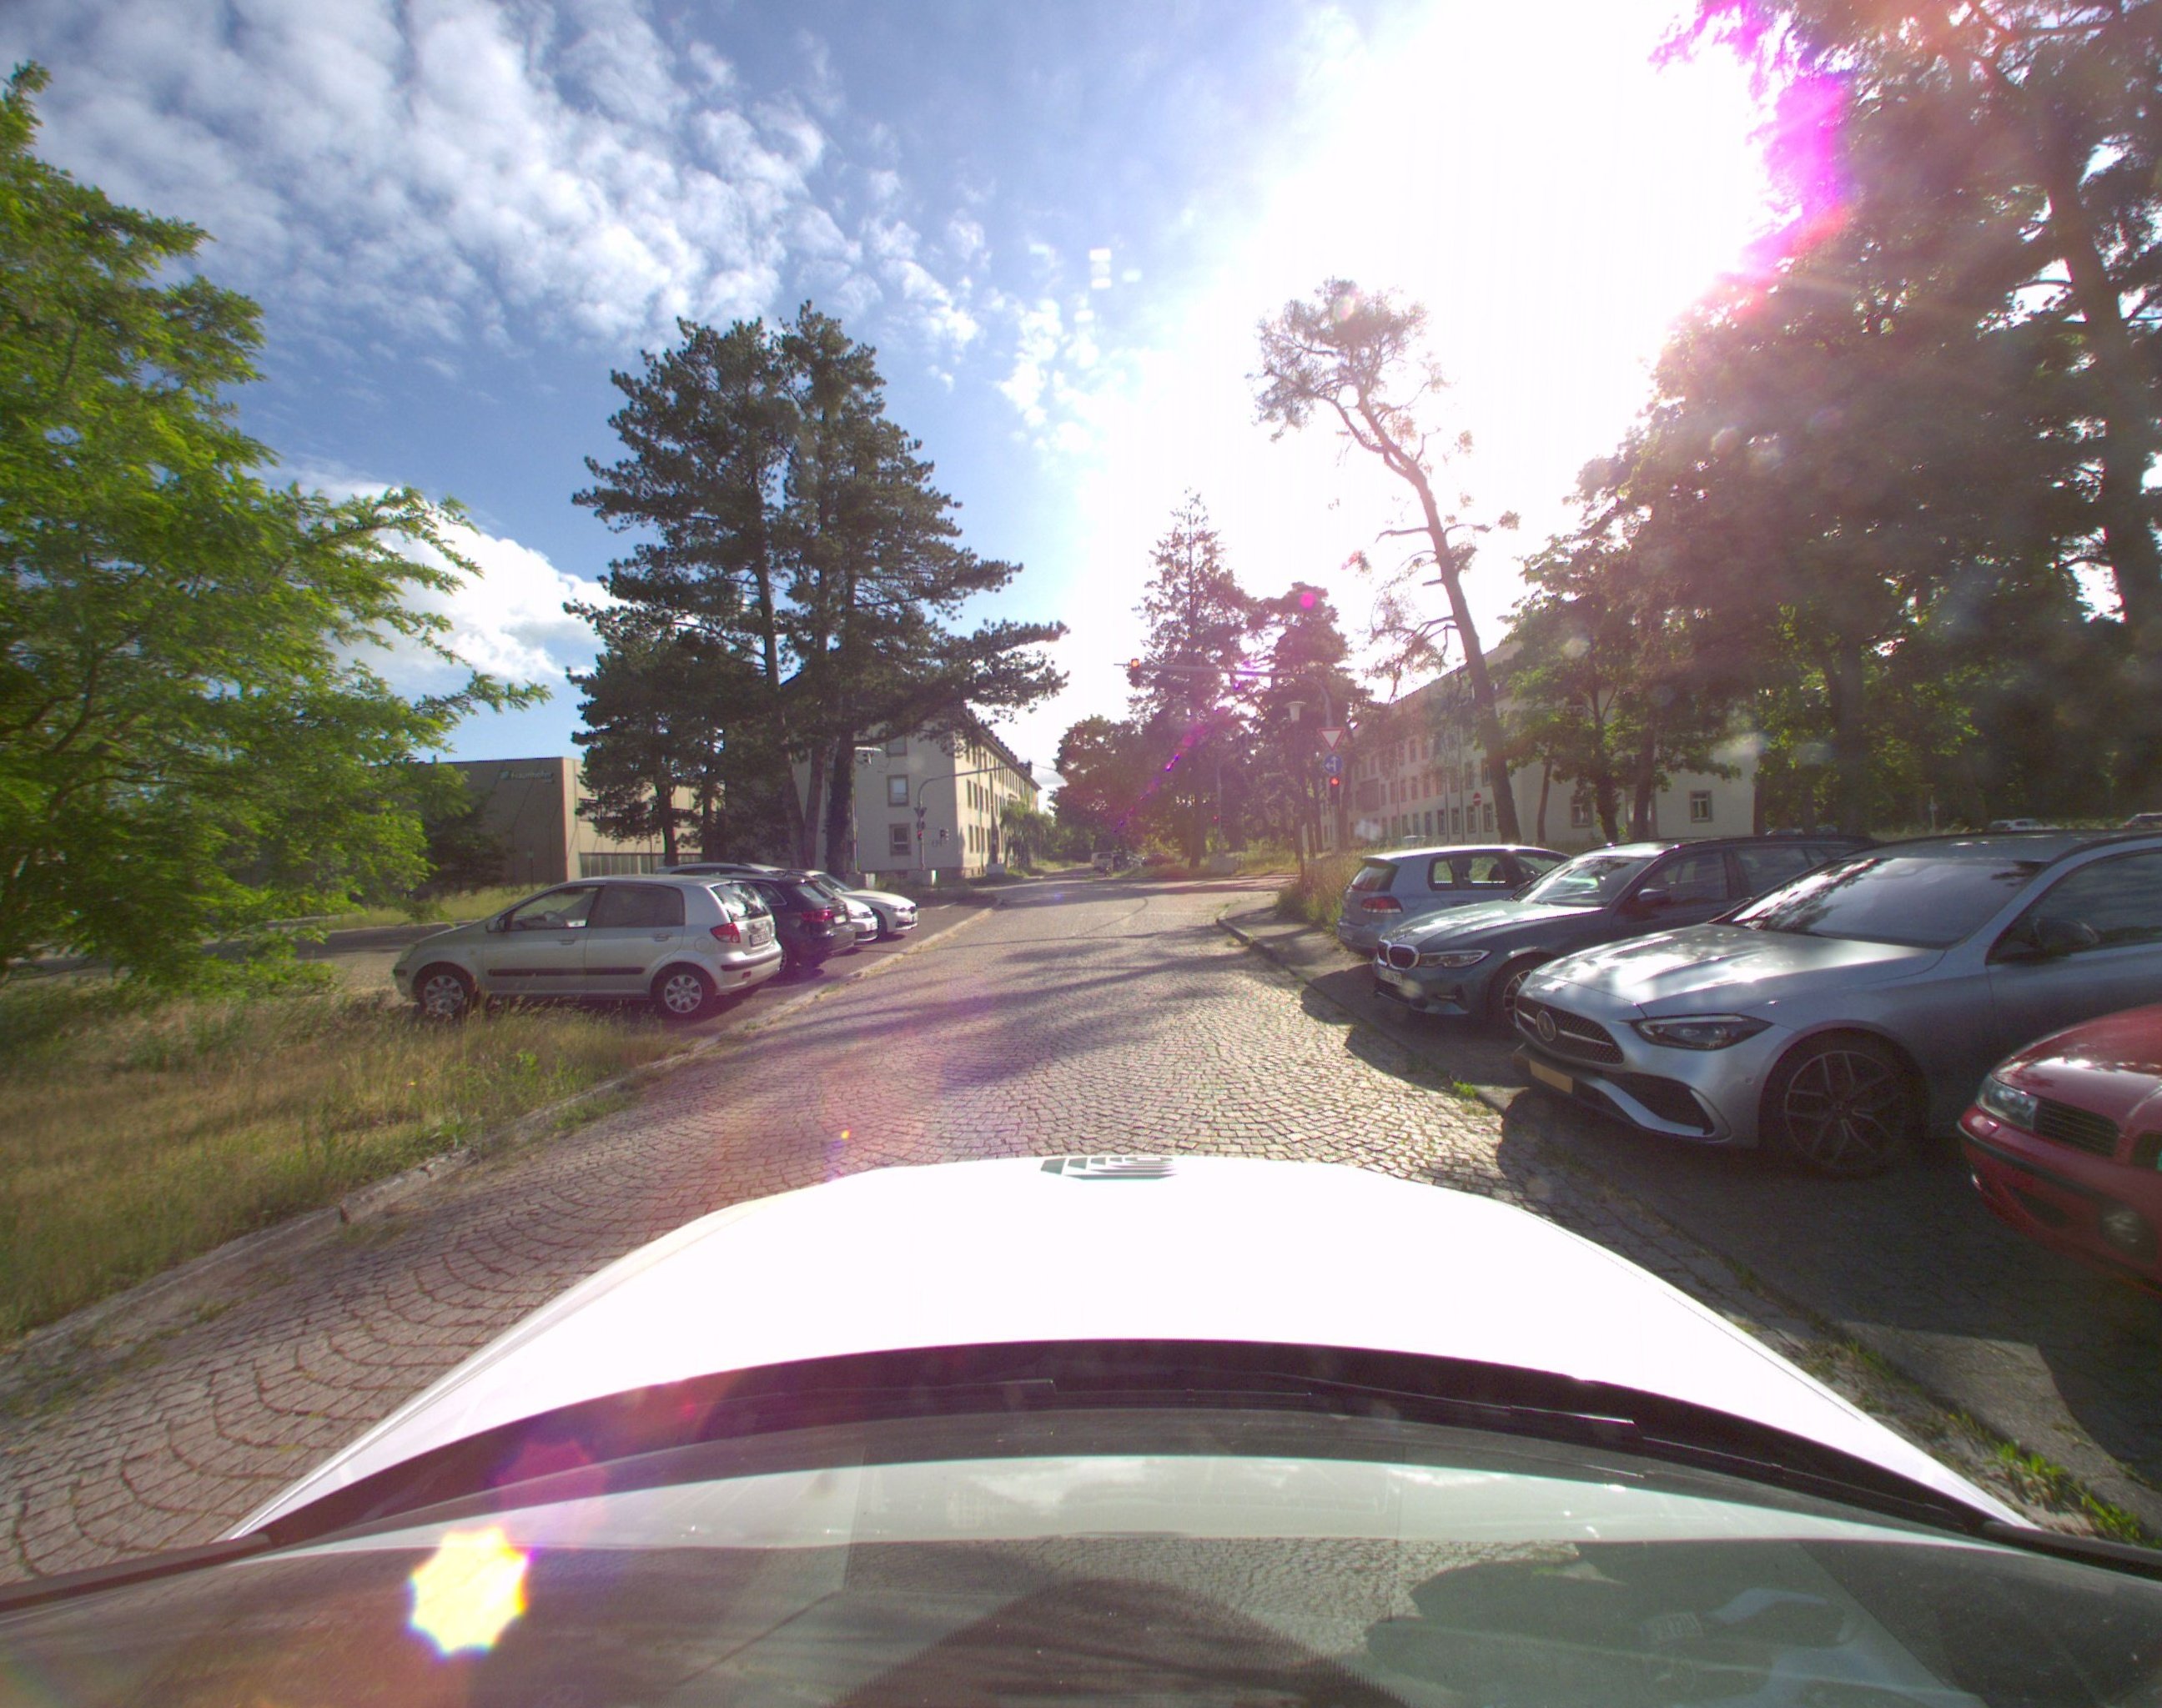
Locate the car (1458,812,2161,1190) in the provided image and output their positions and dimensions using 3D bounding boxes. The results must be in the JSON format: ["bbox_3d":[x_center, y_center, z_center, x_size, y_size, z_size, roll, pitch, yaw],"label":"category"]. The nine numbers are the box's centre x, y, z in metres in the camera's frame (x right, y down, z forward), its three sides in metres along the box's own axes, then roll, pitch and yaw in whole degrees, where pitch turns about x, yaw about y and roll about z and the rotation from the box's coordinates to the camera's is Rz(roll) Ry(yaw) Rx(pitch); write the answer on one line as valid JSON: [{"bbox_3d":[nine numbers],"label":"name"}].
[{"bbox_3d":[4.673,0.601,4.372,4.414,1.415,1.782,-4,0,2],"label":"car"}]

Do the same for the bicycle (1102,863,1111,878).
[{"bbox_3d":[1.726,1.090,55.123,0.466,1.010,1.585,0,-1,-1],"label":"bicycle"}]

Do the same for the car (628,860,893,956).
[{"bbox_3d":[-5.685,0.928,14.864,4.068,1.593,1.884,0,0,-1],"label":"car"}]

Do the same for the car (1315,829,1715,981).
[{"bbox_3d":[4.991,0.564,9.774,3.867,1.415,1.638,-4,0,2],"label":"car"}]

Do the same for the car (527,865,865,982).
[{"bbox_3d":[-5.357,0.935,11.756,3.975,1.480,1.802,0,0,-1],"label":"car"}]

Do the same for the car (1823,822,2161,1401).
[{"bbox_3d":[4.809,0.552,2.133,4.111,1.449,1.638,-4,0,2],"label":"car"}]

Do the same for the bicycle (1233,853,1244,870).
[{"bbox_3d":[9.001,0.453,46.512,0.300,0.961,1.585,0,-1,-1],"label":"bicycle"}]

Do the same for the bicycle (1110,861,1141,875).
[{"bbox_3d":[3.208,0.996,58.763,2.106,1.010,0.619,0,-1,-6],"label":"bicycle"}]

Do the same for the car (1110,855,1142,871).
[{"bbox_3d":[4.043,0.816,73.229,2.775,1.467,1.669,0,-1,-3],"label":"car"}]

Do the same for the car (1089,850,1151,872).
[{"bbox_3d":[3.638,0.694,76.708,5.533,2.014,1.989,0,-1,-16],"label":"car"}]

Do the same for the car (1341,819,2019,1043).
[{"bbox_3d":[4.803,0.590,7.034,4.542,1.415,1.638,-4,0,2],"label":"car"}]

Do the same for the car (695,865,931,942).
[{"bbox_3d":[-5.494,0.993,17.104,4.321,1.468,1.830,0,0,-2],"label":"car"}]

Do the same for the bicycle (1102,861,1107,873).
[{"bbox_3d":[1.981,1.082,68.455,0.415,1.010,1.484,0,-1,3],"label":"bicycle"}]

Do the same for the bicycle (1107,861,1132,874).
[{"bbox_3d":[2.915,1.040,62.241,1.835,1.010,0.634,0,-1,-6],"label":"bicycle"}]

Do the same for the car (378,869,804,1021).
[{"bbox_3d":[-5.276,0.942,9.151,3.735,1.487,1.645,0,0,-2],"label":"car"}]

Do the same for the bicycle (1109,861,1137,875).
[{"bbox_3d":[3.103,1.017,60.480,2.002,1.010,0.631,0,-1,-6],"label":"bicycle"}]
